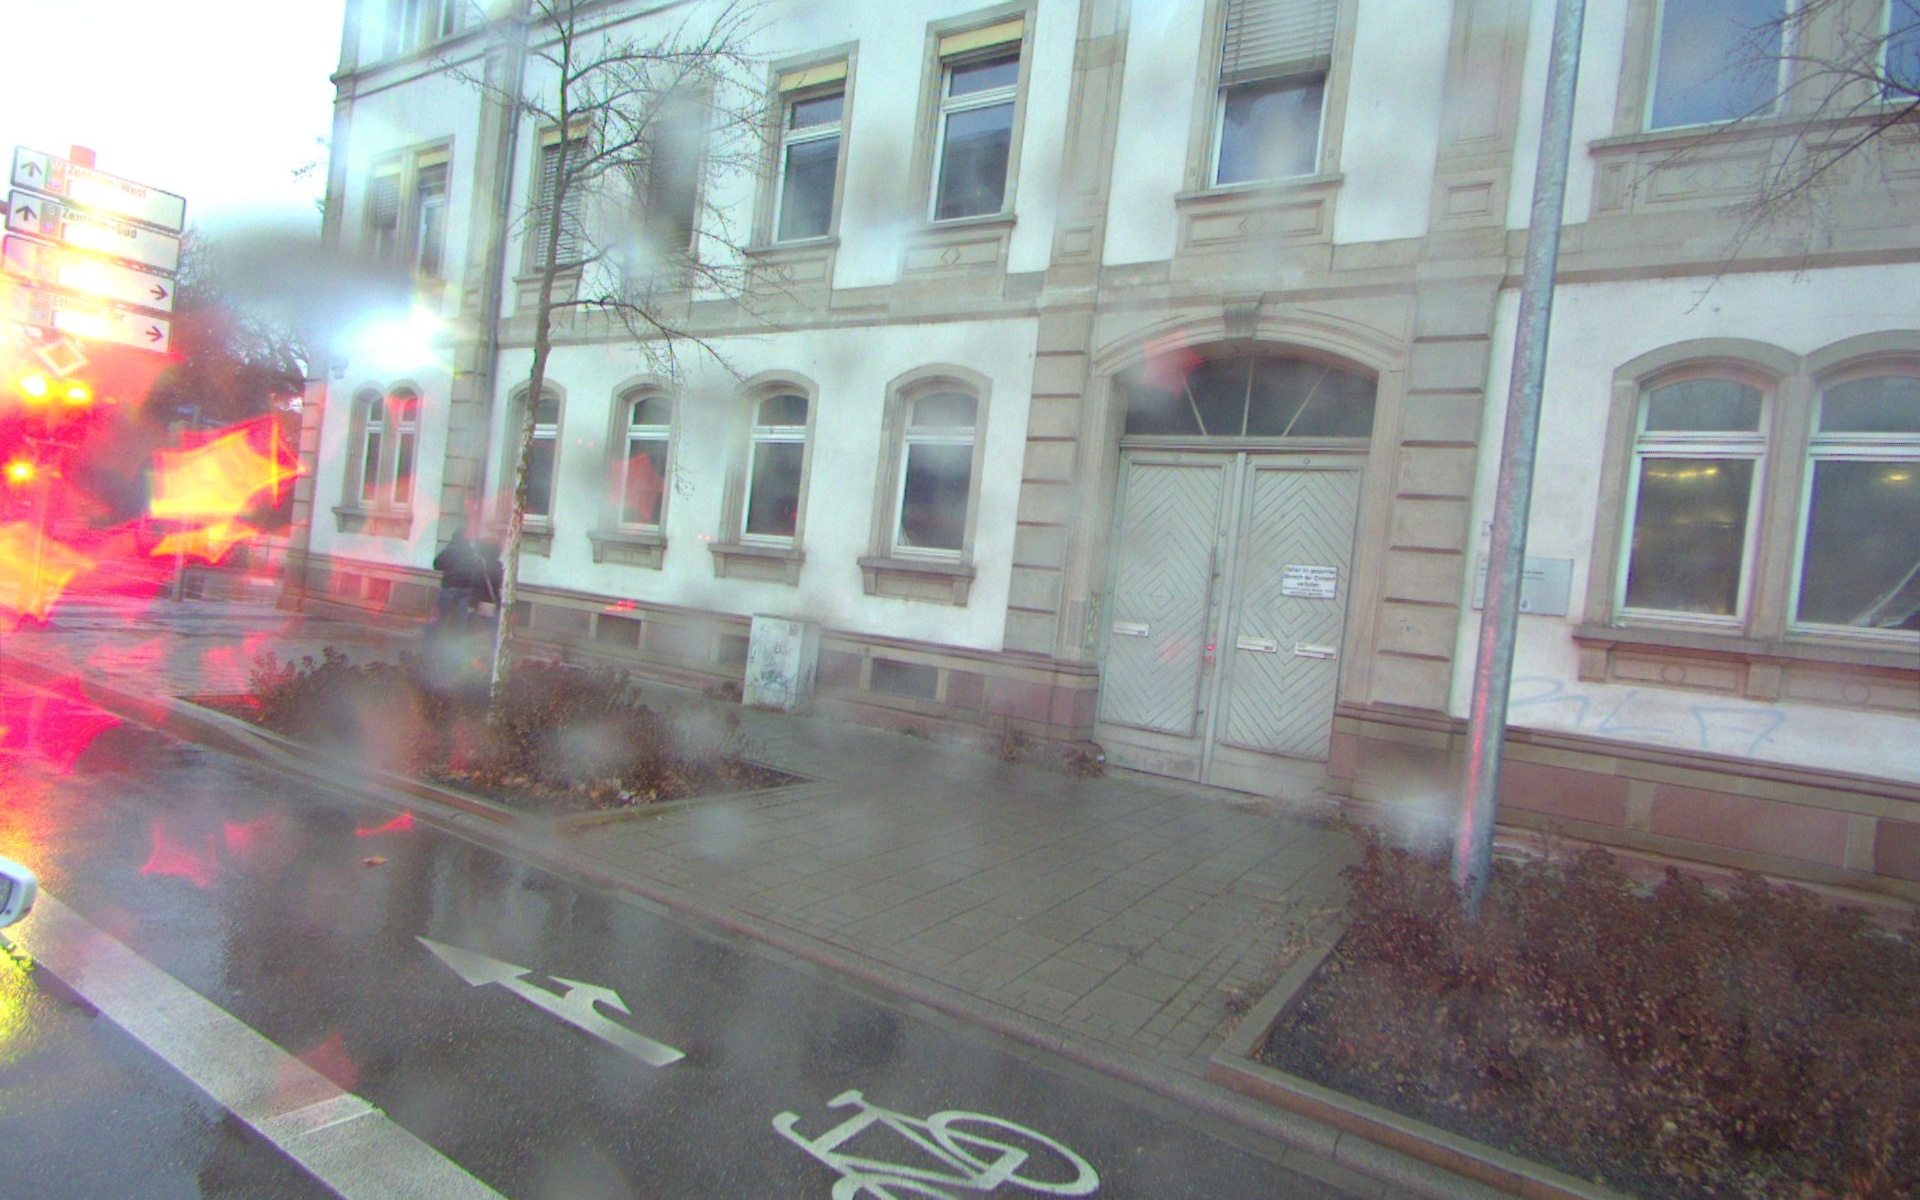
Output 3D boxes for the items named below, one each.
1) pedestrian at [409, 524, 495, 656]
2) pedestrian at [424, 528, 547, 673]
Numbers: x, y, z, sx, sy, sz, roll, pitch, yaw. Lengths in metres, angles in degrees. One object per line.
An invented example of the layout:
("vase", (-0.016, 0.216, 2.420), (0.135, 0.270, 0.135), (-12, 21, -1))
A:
("pedestrian", (-6.885, -0.129, 13.693), (0.774, 1.651, 1.006), (8, -1, -22))
("pedestrian", (-5.743, 0.006, 12.172), (0.995, 1.597, 0.782), (6, -1, 35))
